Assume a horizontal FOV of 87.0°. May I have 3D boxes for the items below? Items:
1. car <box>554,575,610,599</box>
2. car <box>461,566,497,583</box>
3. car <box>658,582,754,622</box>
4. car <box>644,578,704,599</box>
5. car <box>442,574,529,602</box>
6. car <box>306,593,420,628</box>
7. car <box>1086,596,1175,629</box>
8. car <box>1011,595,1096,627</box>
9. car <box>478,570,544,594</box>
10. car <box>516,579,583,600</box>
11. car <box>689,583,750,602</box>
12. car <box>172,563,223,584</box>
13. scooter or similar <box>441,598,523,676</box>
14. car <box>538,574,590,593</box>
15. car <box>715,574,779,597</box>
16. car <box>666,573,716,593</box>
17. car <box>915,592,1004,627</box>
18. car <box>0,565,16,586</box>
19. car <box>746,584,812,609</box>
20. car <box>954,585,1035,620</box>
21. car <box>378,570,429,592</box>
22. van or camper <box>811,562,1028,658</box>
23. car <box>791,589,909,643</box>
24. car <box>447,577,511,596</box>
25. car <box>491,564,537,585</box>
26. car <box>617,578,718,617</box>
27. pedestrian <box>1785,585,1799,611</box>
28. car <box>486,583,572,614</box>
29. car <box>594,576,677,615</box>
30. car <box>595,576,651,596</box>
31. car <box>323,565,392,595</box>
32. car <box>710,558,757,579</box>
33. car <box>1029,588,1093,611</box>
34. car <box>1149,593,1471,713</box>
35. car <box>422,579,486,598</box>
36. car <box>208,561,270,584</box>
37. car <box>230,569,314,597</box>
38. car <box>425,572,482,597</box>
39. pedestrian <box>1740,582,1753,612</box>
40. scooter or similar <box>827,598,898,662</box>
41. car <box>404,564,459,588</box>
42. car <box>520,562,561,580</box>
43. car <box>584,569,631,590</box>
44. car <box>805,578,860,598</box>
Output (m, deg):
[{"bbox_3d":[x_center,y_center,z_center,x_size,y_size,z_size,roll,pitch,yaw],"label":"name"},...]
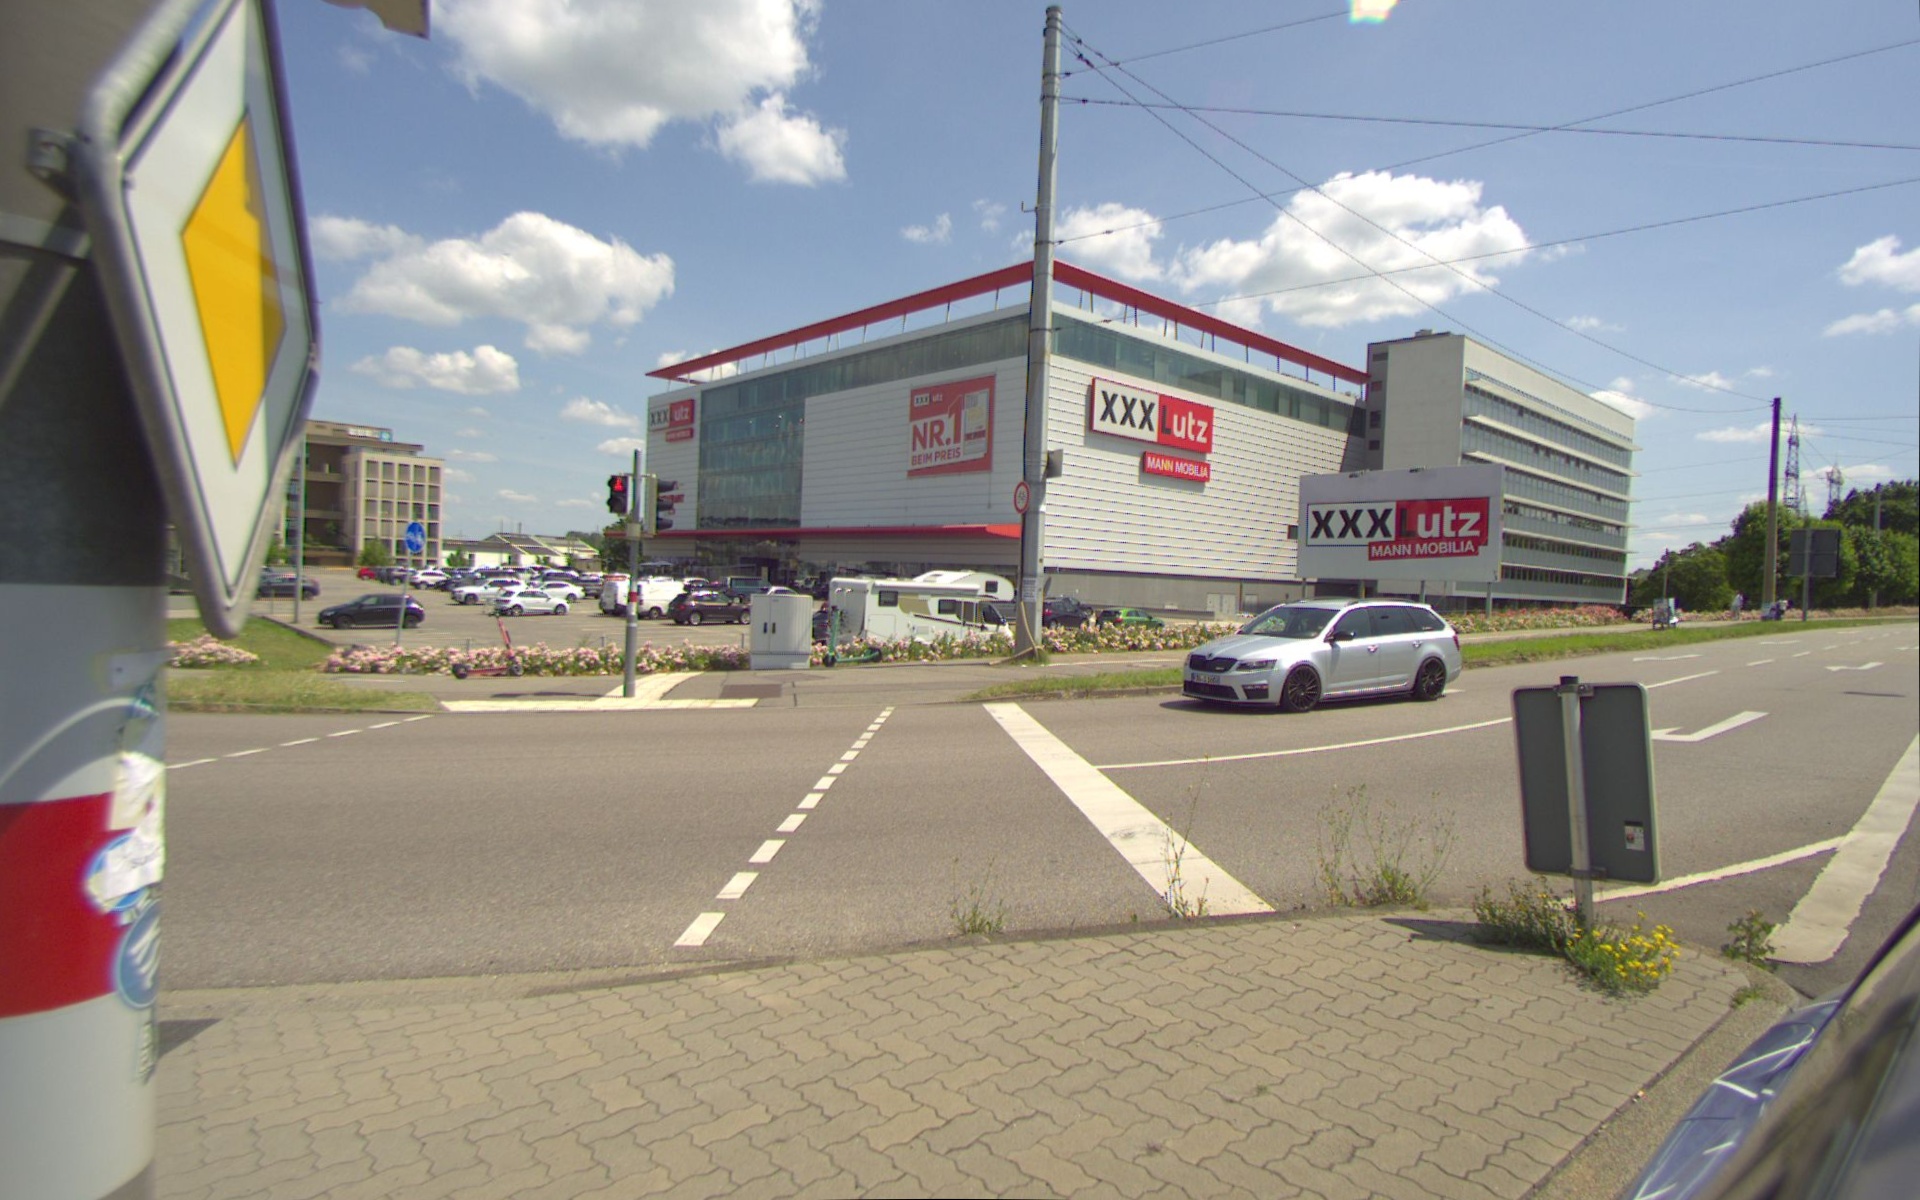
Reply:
[{"bbox_3d":[-27.952,-0.953,74.860,3.549,1.671,1.703,0,1,-41],"label":"car"},{"bbox_3d":[-52.664,-2.812,110.816,3.321,1.828,1.700,0,1,-41],"label":"car"},{"bbox_3d":[-12.617,0.092,50.443,4.408,1.936,1.589,0,1,-40],"label":"car"},{"bbox_3d":[-21.217,-0.837,75.198,3.932,1.546,1.691,0,1,-43],"label":"car"},{"bbox_3d":[-30.318,-0.742,64.761,4.782,1.723,1.853,0,1,-39],"label":"car"},{"bbox_3d":[-25.141,0.425,42.661,3.875,1.393,1.851,0,1,-42],"label":"car"},{"bbox_3d":[8.514,0.586,50.284,4.441,1.583,1.997,0,1,-41],"label":"car"},{"bbox_3d":[4.965,0.561,53.535,4.441,1.574,1.997,0,1,-42],"label":"car"},{"bbox_3d":[-33.094,-1.327,74.598,4.097,1.723,1.852,0,1,-40],"label":"car"},{"bbox_3d":[-28.307,-0.729,69.884,3.928,1.457,1.853,0,1,-39],"label":"car"},{"bbox_3d":[-16.970,-0.512,71.525,3.932,1.326,1.691,0,1,-43],"label":"car"},{"bbox_3d":[-76.318,-2.671,101.288,3.930,2.039,1.997,0,1,-41],"label":"car"},{"bbox_3d":[-8.261,0.629,17.517,1.252,1.307,0.481,0,0,-25],"label":"scooter or similar"},{"bbox_3d":[-36.240,-1.516,92.728,4.097,1.723,1.852,0,1,-40],"label":"car"},{"bbox_3d":[-16.216,-1.100,77.123,4.441,1.756,1.997,0,1,-42],"label":"car"},{"bbox_3d":[-22.603,-1.426,85.117,3.666,1.622,1.691,0,1,-43],"label":"car"},{"bbox_3d":[0.006,0.453,52.162,4.425,1.738,1.997,-1,1,-41],"label":"car"},{"bbox_3d":[-96.979,-2.496,102.417,1.966,2.039,3.993,0,1,-42],"label":"car"},{"bbox_3d":[-11.615,-0.210,65.169,3.930,1.545,1.648,0,1,-41],"label":"car"},{"bbox_3d":[1.987,0.107,57.174,4.441,1.918,1.997,0,1,-42],"label":"car"},{"bbox_3d":[-52.796,-1.771,95.991,3.931,2.039,1.997,0,1,-41],"label":"car"},{"bbox_3d":[-1.240,0.265,35.027,7.480,2.983,2.714,-1,1,-41],"label":"van or camper"},{"bbox_3d":[-4.455,0.614,41.323,4.373,2.039,1.998,0,1,-40],"label":"car"},{"bbox_3d":[-37.190,-1.006,78.295,4.180,1.430,1.858,0,1,-40],"label":"car"},{"bbox_3d":[-45.706,-2.618,103.737,3.928,2.039,1.998,0,1,-39],"label":"car"},{"bbox_3d":[-15.729,-0.159,54.523,4.879,2.039,1.997,-1,1,-41],"label":"car"},{"bbox_3d":[54.508,-0.142,66.296,0.623,1.676,0.598,0,0,-43],"label":"pedestrian"},{"bbox_3d":[-23.376,-0.093,54.946,1.848,1.565,3.938,1,1,43],"label":"car"},{"bbox_3d":[-17.887,-0.276,55.840,3.931,2.039,1.997,-1,1,-41],"label":"car"},{"bbox_3d":[-28.034,-1.155,84.251,3.930,1.671,1.997,0,1,-41],"label":"car"},{"bbox_3d":[-42.685,-1.391,71.761,3.931,2.039,1.997,0,1,-42],"label":"car"},{"bbox_3d":[-22.805,-3.109,101.891,4.211,2.039,1.848,-1,1,-41],"label":"car"},{"bbox_3d":[6.639,-0.047,66.448,4.444,1.418,1.696,0,1,-43],"label":"car"},{"bbox_3d":[4.905,0.624,14.034,4.371,1.416,1.805,-1,0,-30],"label":"car"},{"bbox_3d":[-39.896,-0.890,79.803,4.180,1.430,1.858,0,1,-40],"label":"car"},{"bbox_3d":[-57.148,-2.154,80.197,3.927,1.705,1.998,0,1,-39],"label":"car"},{"bbox_3d":[-42.931,-1.031,63.193,4.056,1.705,1.995,0,1,-45],"label":"car"},{"bbox_3d":[-42.195,-1.315,84.323,3.930,2.039,1.997,0,1,-41],"label":"car"},{"bbox_3d":[47.194,-0.183,60.721,0.623,1.816,0.517,0,0,-43],"label":"pedestrian"},{"bbox_3d":[-1.878,0.560,19.418,1.252,1.140,0.481,-3,1,-14],"label":"scooter or similar"},{"bbox_3d":[-45.570,-2.066,87.281,3.931,2.039,1.543,0,1,-42],"label":"car"},{"bbox_3d":[-47.834,-3.297,115.396,3.933,2.039,1.996,0,1,-43],"label":"car"},{"bbox_3d":[-34.769,-2.017,99.844,3.930,2.039,1.997,0,1,-41],"label":"car"},{"bbox_3d":[-11.097,-1.071,88.047,4.444,1.714,1.995,0,1,-44],"label":"car"}]
